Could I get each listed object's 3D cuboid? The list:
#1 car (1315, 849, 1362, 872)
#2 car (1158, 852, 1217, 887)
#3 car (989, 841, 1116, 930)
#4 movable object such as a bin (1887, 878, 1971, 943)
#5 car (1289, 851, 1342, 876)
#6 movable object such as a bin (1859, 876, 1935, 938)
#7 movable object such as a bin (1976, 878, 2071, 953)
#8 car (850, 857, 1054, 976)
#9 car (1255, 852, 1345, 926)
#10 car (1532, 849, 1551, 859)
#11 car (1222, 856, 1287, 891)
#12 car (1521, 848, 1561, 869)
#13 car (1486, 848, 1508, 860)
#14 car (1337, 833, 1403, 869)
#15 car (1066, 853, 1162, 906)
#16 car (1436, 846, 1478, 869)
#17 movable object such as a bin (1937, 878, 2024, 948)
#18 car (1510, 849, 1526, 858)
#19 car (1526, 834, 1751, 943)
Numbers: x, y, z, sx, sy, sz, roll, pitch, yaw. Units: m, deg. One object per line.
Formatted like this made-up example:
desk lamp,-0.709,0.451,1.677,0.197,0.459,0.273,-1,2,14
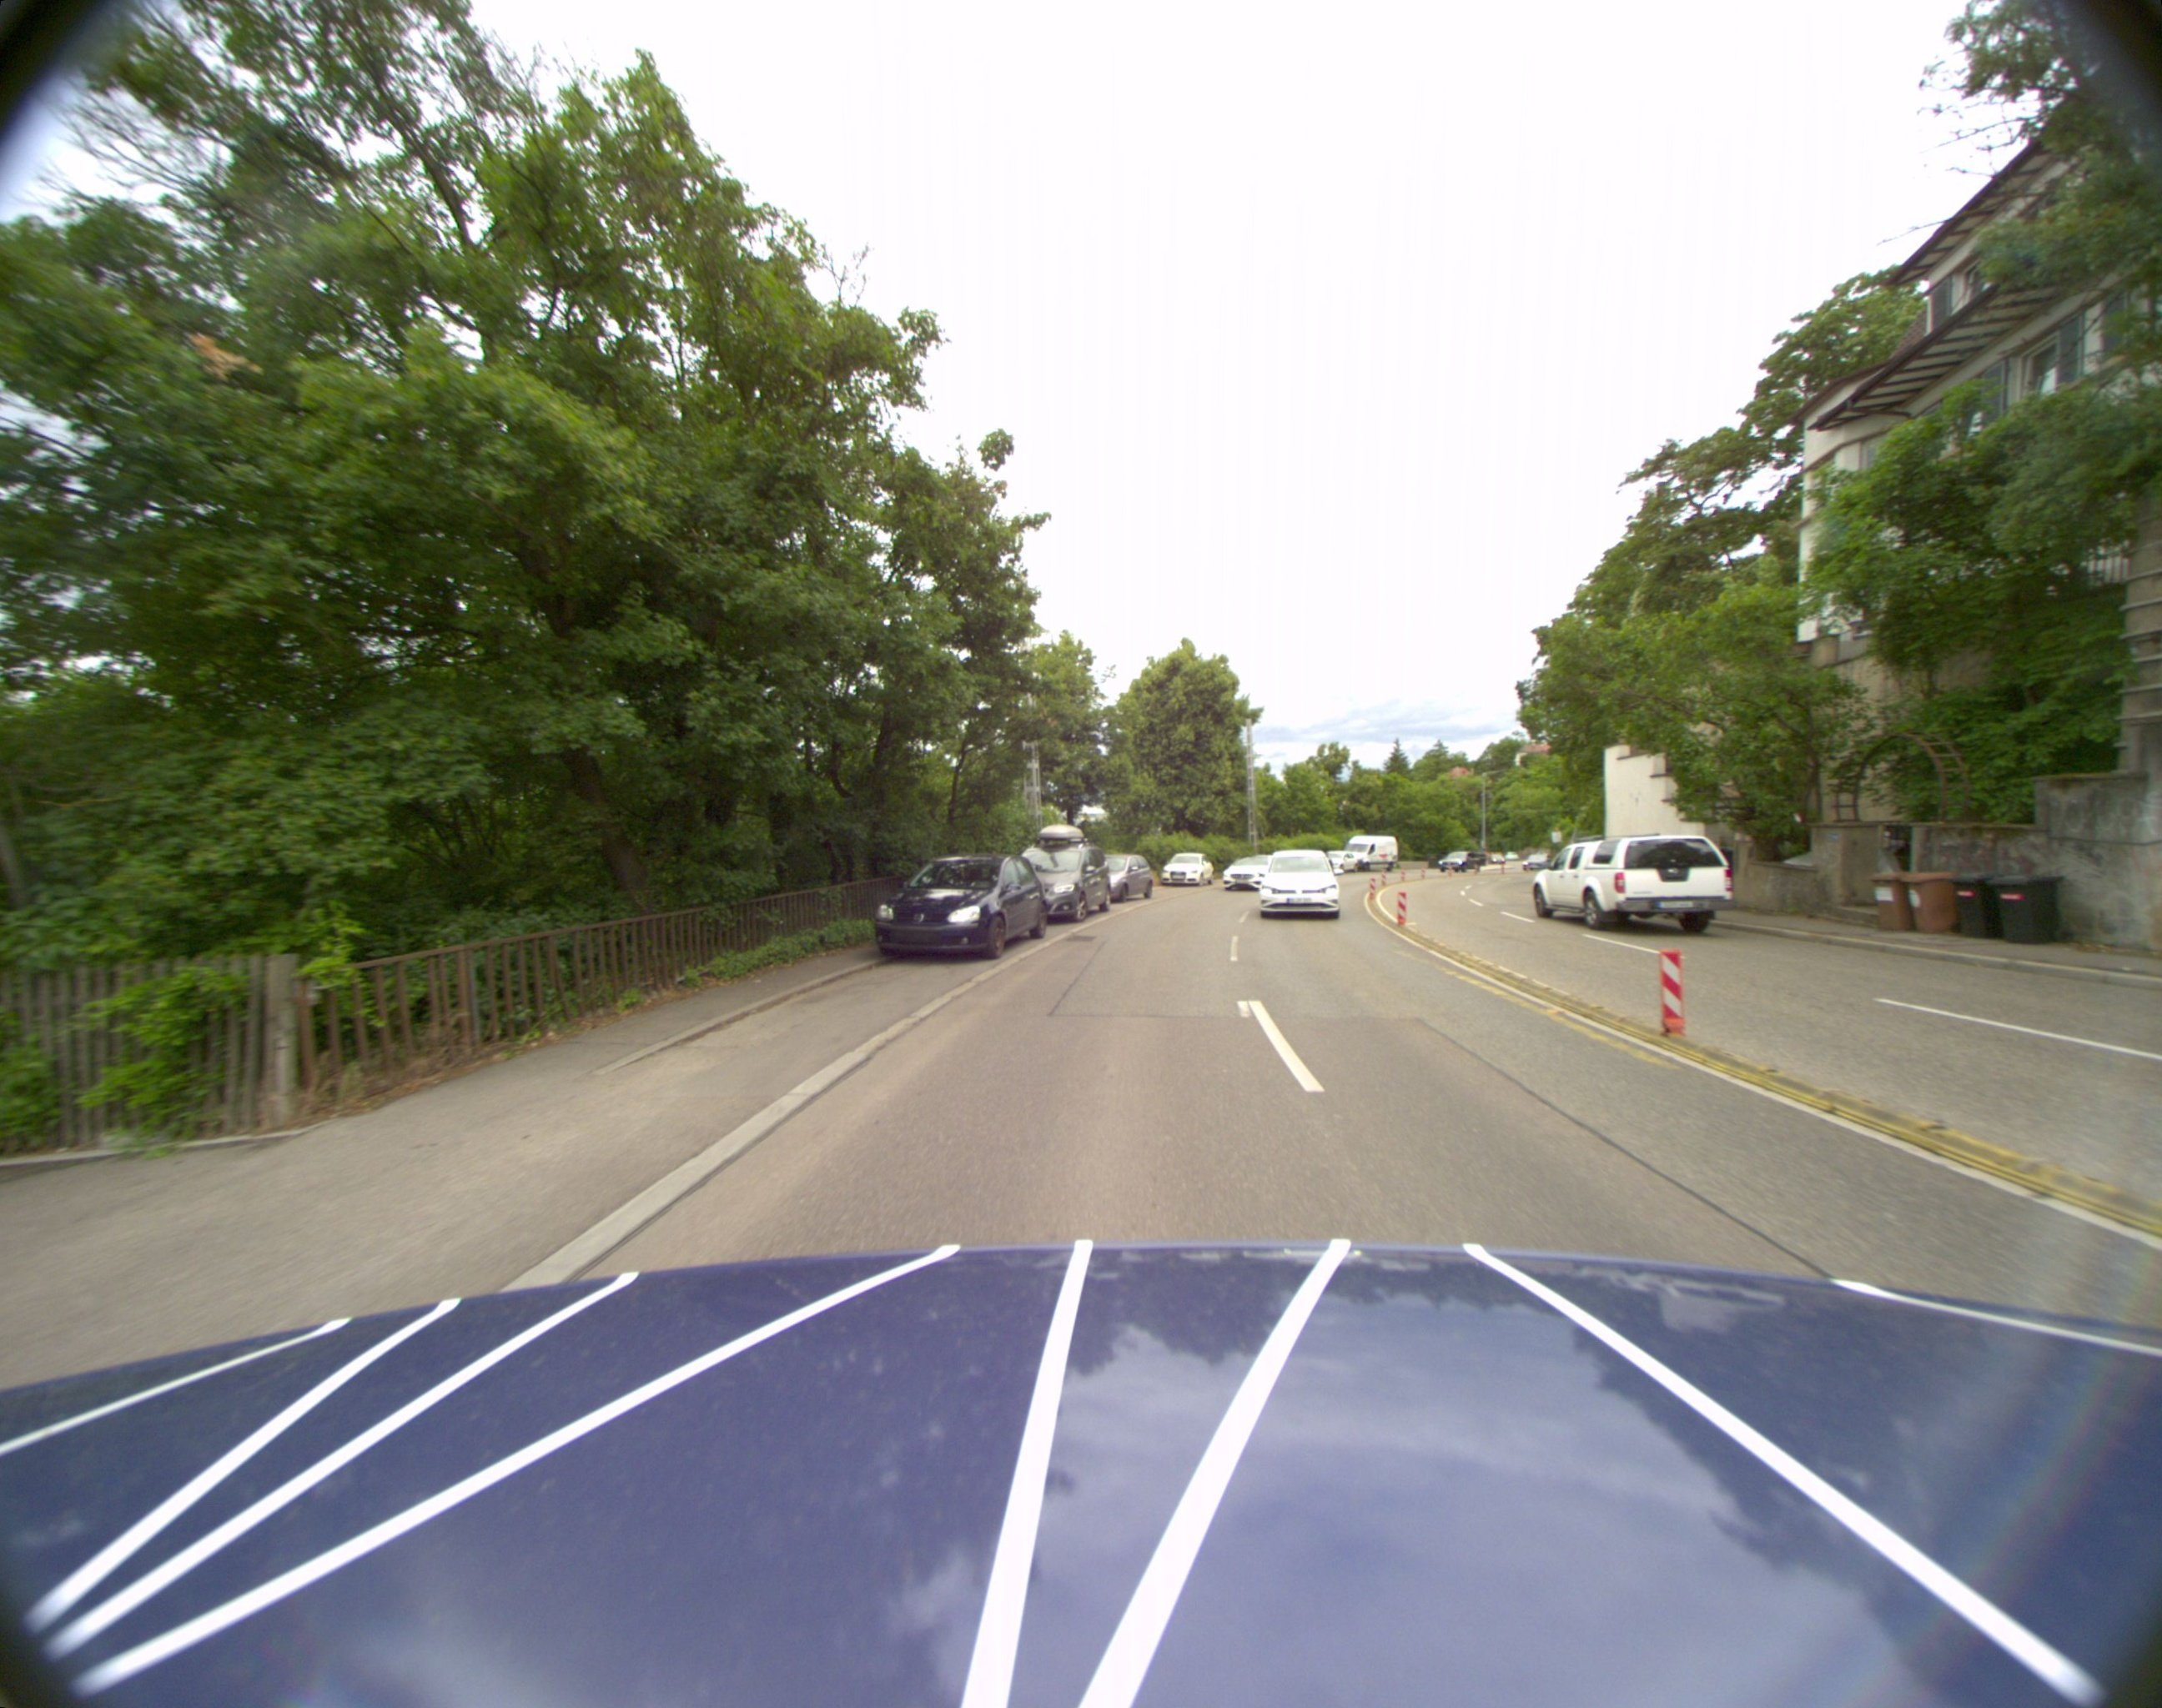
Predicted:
car,17.525,0.400,51.709,1.701,1.456,3.843,2,2,41
car,4.810,0.640,33.844,1.778,1.410,4.006,1,1,20
car,-0.486,0.644,17.688,1.801,1.761,4.612,-2,0,12
movable object such as a bin,13.049,0.856,11.705,0.608,0.943,0.581,-3,0,12
car,14.840,0.562,47.982,1.701,1.455,4.673,1,1,37
movable object such as a bin,13.164,0.846,12.273,0.608,0.943,0.557,-3,0,12
movable object such as a bin,12.652,0.819,10.213,0.543,0.943,0.567,-3,0,12
car,-1.766,0.827,11.839,1.662,1.478,4.039,-2,0,13
car,5.289,0.755,18.636,1.883,1.569,4.004,1,1,14
car,69.794,-0.025,115.218,1.713,1.458,3.666,-2,-1,19
car,7.233,0.767,31.307,1.795,1.299,4.107,-2,0,24
car,41.119,0.409,67.851,4.008,1.696,1.995,-2,0,-44
car,59.291,-0.046,108.389,1.788,1.541,3.781,-3,0,15
car,21.468,-0.251,56.342,5.856,2.509,2.084,0,3,-42
car,1.128,0.730,23.611,1.642,1.455,4.006,-1,0,23
car,29.674,0.263,59.894,1.995,1.696,4.008,-3,0,40
movable object such as a bin,12.909,0.838,10.920,0.543,0.943,0.567,-3,0,12
car,75.535,-0.018,131.329,1.713,1.458,3.666,-2,-1,19
car,10.998,0.594,15.555,1.913,1.818,5.313,-1,0,15
